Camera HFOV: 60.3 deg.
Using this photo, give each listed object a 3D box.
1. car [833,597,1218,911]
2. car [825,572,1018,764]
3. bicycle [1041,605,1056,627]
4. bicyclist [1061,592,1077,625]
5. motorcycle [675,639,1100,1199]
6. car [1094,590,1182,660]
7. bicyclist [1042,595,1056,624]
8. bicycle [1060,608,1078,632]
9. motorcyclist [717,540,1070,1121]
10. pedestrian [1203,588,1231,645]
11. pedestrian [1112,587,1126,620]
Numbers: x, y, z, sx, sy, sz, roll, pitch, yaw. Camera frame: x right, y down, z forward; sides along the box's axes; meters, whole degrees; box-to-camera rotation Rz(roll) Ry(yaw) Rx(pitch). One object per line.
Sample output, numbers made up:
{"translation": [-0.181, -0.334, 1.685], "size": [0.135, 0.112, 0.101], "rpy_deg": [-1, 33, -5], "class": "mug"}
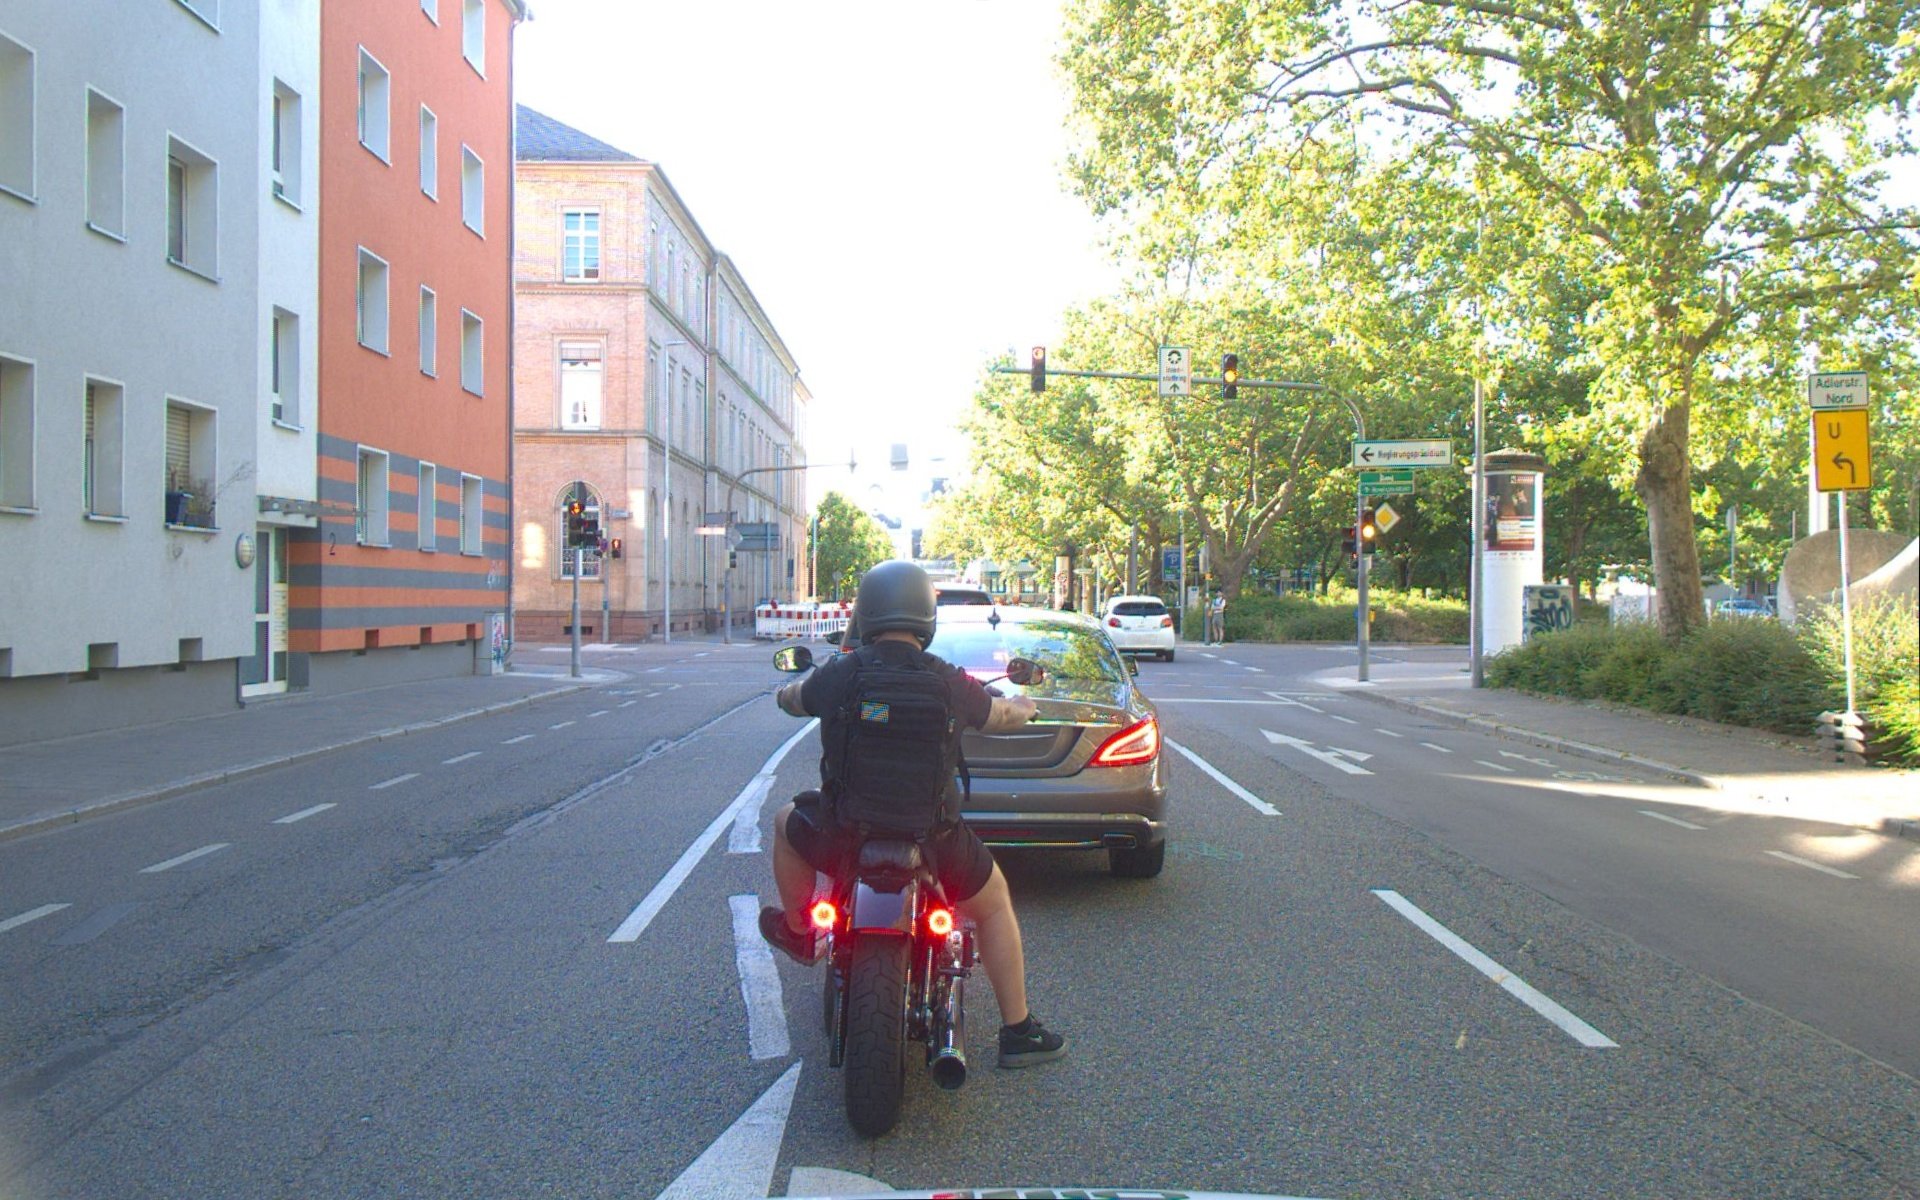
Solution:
{"translation": [0.277, 0.720, 9.666], "size": [1.791, 1.445, 3.814], "rpy_deg": [1, 0, -1], "class": "car"}
{"translation": [-0.494, 0.620, 16.756], "size": [1.599, 1.679, 3.845], "rpy_deg": [2, 0, -6], "class": "car"}
{"translation": [4.779, 0.872, 89.287], "size": [0.643, 1.131, 2.185], "rpy_deg": [2, 0, -1], "class": "bicycle"}
{"translation": [5.196, 0.401, 78.869], "size": [0.643, 1.557, 0.852], "rpy_deg": [2, -1, -1], "class": "bicyclist"}
{"translation": [-0.190, 0.824, 5.201], "size": [0.991, 1.329, 2.672], "rpy_deg": [0, 0, -1], "class": "motorcycle"}
{"translation": [4.172, 0.577, 39.247], "size": [1.645, 1.524, 3.685], "rpy_deg": [2, 0, 0], "class": "car"}
{"translation": [4.788, 0.516, 89.261], "size": [0.643, 1.557, 0.906], "rpy_deg": [2, 0, -1], "class": "bicyclist"}
{"translation": [5.182, 0.954, 78.841], "size": [0.643, 1.089, 1.926], "rpy_deg": [2, 0, -1], "class": "bicycle"}
{"translation": [-0.197, 0.645, 5.363], "size": [0.991, 1.630, 1.406], "rpy_deg": [0, 0, -1], "class": "motorcyclist"}
{"translation": [8.279, 0.533, 53.312], "size": [0.566, 1.805, 0.618], "rpy_deg": [2, -1, -35], "class": "pedestrian"}
{"translation": [7.677, 0.167, 79.969], "size": [0.580, 1.606, 0.527], "rpy_deg": [2, -1, -1], "class": "pedestrian"}
